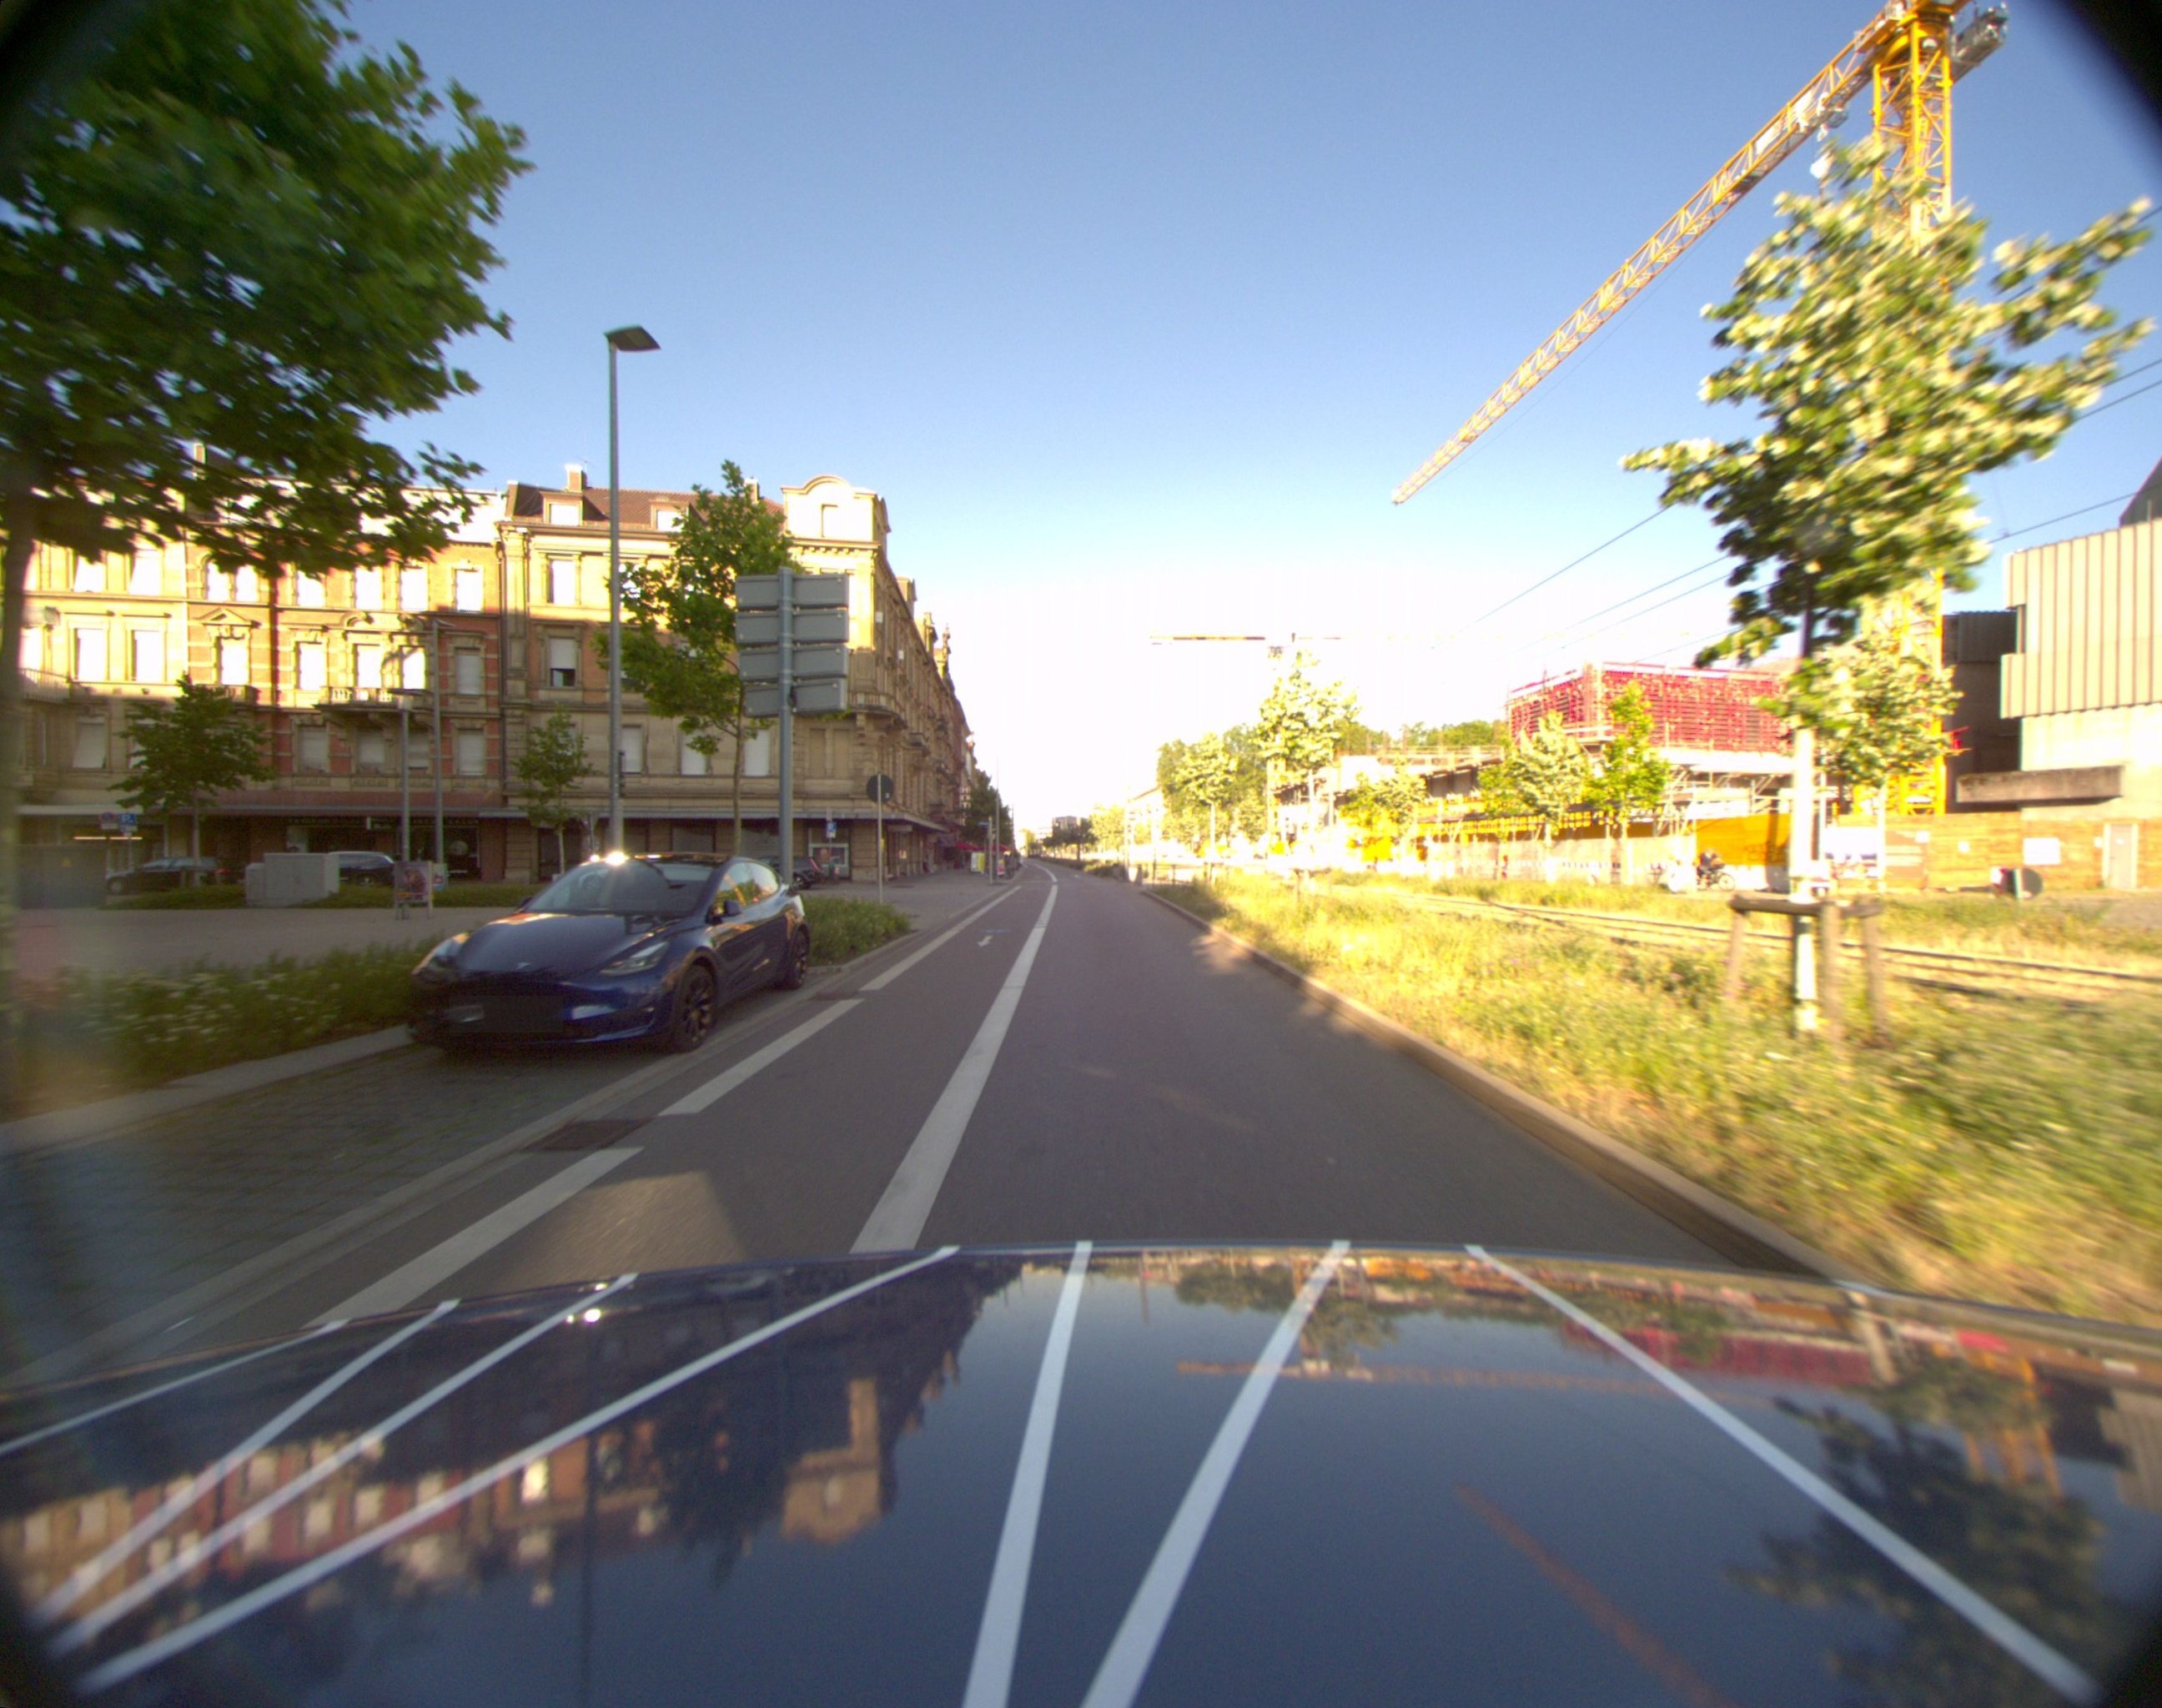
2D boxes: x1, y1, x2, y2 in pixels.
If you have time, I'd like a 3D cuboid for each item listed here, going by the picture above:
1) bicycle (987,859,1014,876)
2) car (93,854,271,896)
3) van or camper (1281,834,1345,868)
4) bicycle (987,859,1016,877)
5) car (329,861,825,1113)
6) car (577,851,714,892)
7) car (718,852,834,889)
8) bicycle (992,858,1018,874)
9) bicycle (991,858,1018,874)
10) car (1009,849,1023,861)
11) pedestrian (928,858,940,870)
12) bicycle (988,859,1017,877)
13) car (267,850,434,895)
[{"bbox_3d":[-5.384,0.908,50.958,1.725,1.098,0.507,2,1,1],"label":"bicycle"},{"bbox_3d":[-34.663,0.775,29.426,4.206,1.474,1.861,-1,2,-9],"label":"car"},{"bbox_3d":[18.092,-0.221,59.693,2.228,2.495,7.197,2,0,-5],"label":"van or camper"},{"bbox_3d":[-5.111,0.916,49.100,1.758,1.098,0.507,2,1,1],"label":"bicycle"},{"bbox_3d":[-4.150,0.927,7.434,1.937,1.589,4.697,2,0,-4],"label":"car"},{"bbox_3d":[-18.135,0.692,31.833,4.555,1.586,1.861,-1,2,-9],"label":"car"},{"bbox_3d":[-13.010,0.693,32.681,4.275,1.442,1.861,-1,2,-9],"label":"car"},{"bbox_3d":[-5.573,0.878,55.561,1.809,1.041,0.566,2,1,1],"label":"bicycle"},{"bbox_3d":[-5.429,0.837,54.056,1.849,1.098,0.566,2,1,1],"label":"bicycle"},{"bbox_3d":[-9.175,0.144,107.429,1.854,1.555,4.294,1,0,-4],"label":"car"},{"bbox_3d":[-11.253,0.770,58.059,0.816,0.957,0.804,0,1,-3],"label":"pedestrian"},{"bbox_3d":[-5.128,0.888,49.690,1.758,1.098,0.507,2,1,1],"label":"bicycle"},{"bbox_3d":[-28.953,0.690,30.262,4.454,1.615,1.875,-1,2,-9],"label":"car"}]
